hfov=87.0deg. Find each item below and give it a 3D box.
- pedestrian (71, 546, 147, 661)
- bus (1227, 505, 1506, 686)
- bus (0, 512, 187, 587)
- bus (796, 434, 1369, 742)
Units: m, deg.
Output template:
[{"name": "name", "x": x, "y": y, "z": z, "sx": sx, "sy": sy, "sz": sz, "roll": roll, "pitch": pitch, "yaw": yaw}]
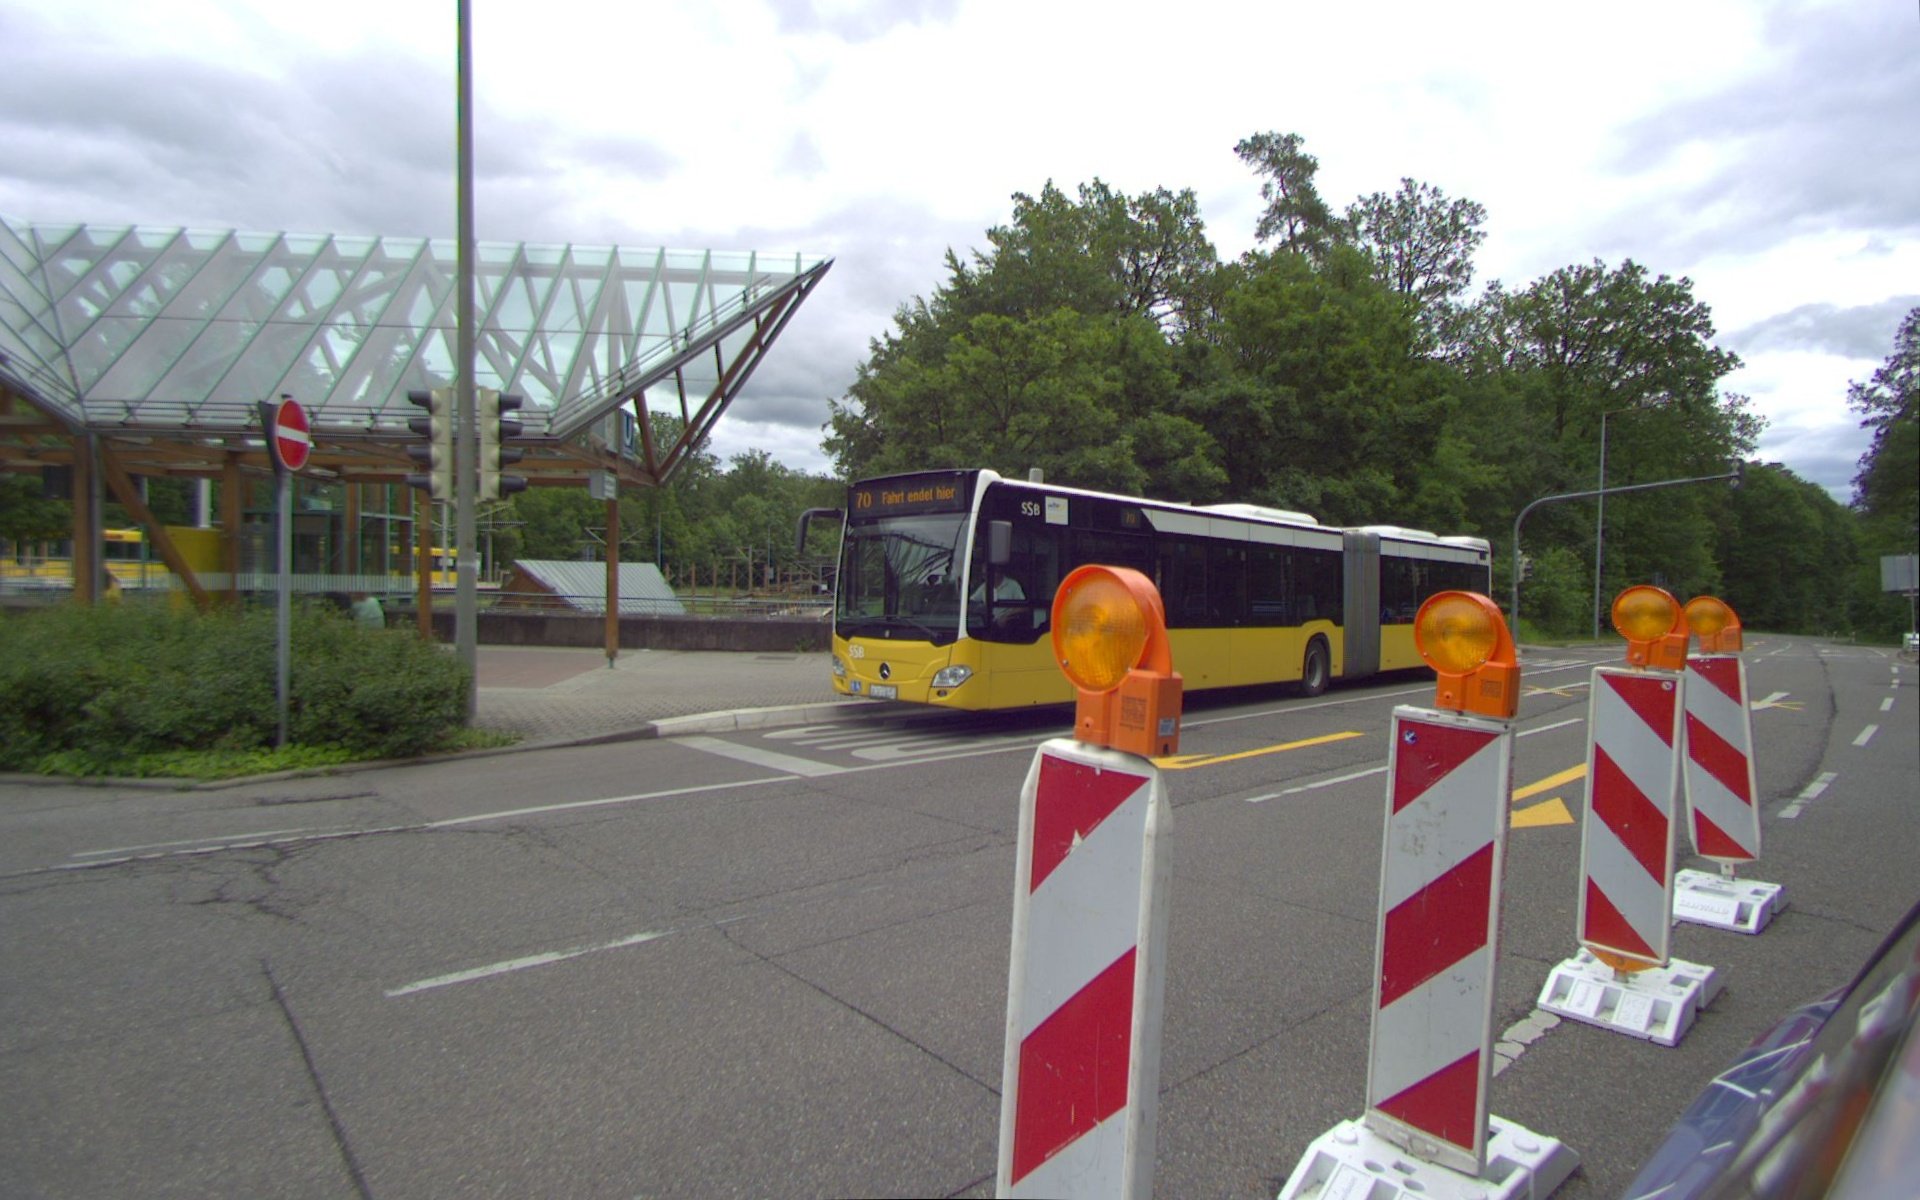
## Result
[{"name": "pedestrian", "x": -13.507, "y": 0.055, "z": 16.072, "sx": 0.657, "sy": 1.780, "sz": 0.654, "roll": 0, "pitch": 0, "yaw": 9}, {"name": "bus", "x": 8.913, "y": -0.085, "z": 21.595, "sx": 2.804, "sy": 3.199, "sz": 7.631, "roll": 1, "pitch": 0, "yaw": 45}, {"name": "bus", "x": -47.135, "y": -2.390, "z": 47.940, "sx": 3.919, "sy": 3.527, "sz": 18.504, "roll": 0, "pitch": 1, "yaw": 13}, {"name": "bus", "x": 2.599, "y": -0.125, "z": 15.198, "sx": 2.804, "sy": 3.199, "sz": 10.348, "roll": 1, "pitch": 0, "yaw": 45}]
